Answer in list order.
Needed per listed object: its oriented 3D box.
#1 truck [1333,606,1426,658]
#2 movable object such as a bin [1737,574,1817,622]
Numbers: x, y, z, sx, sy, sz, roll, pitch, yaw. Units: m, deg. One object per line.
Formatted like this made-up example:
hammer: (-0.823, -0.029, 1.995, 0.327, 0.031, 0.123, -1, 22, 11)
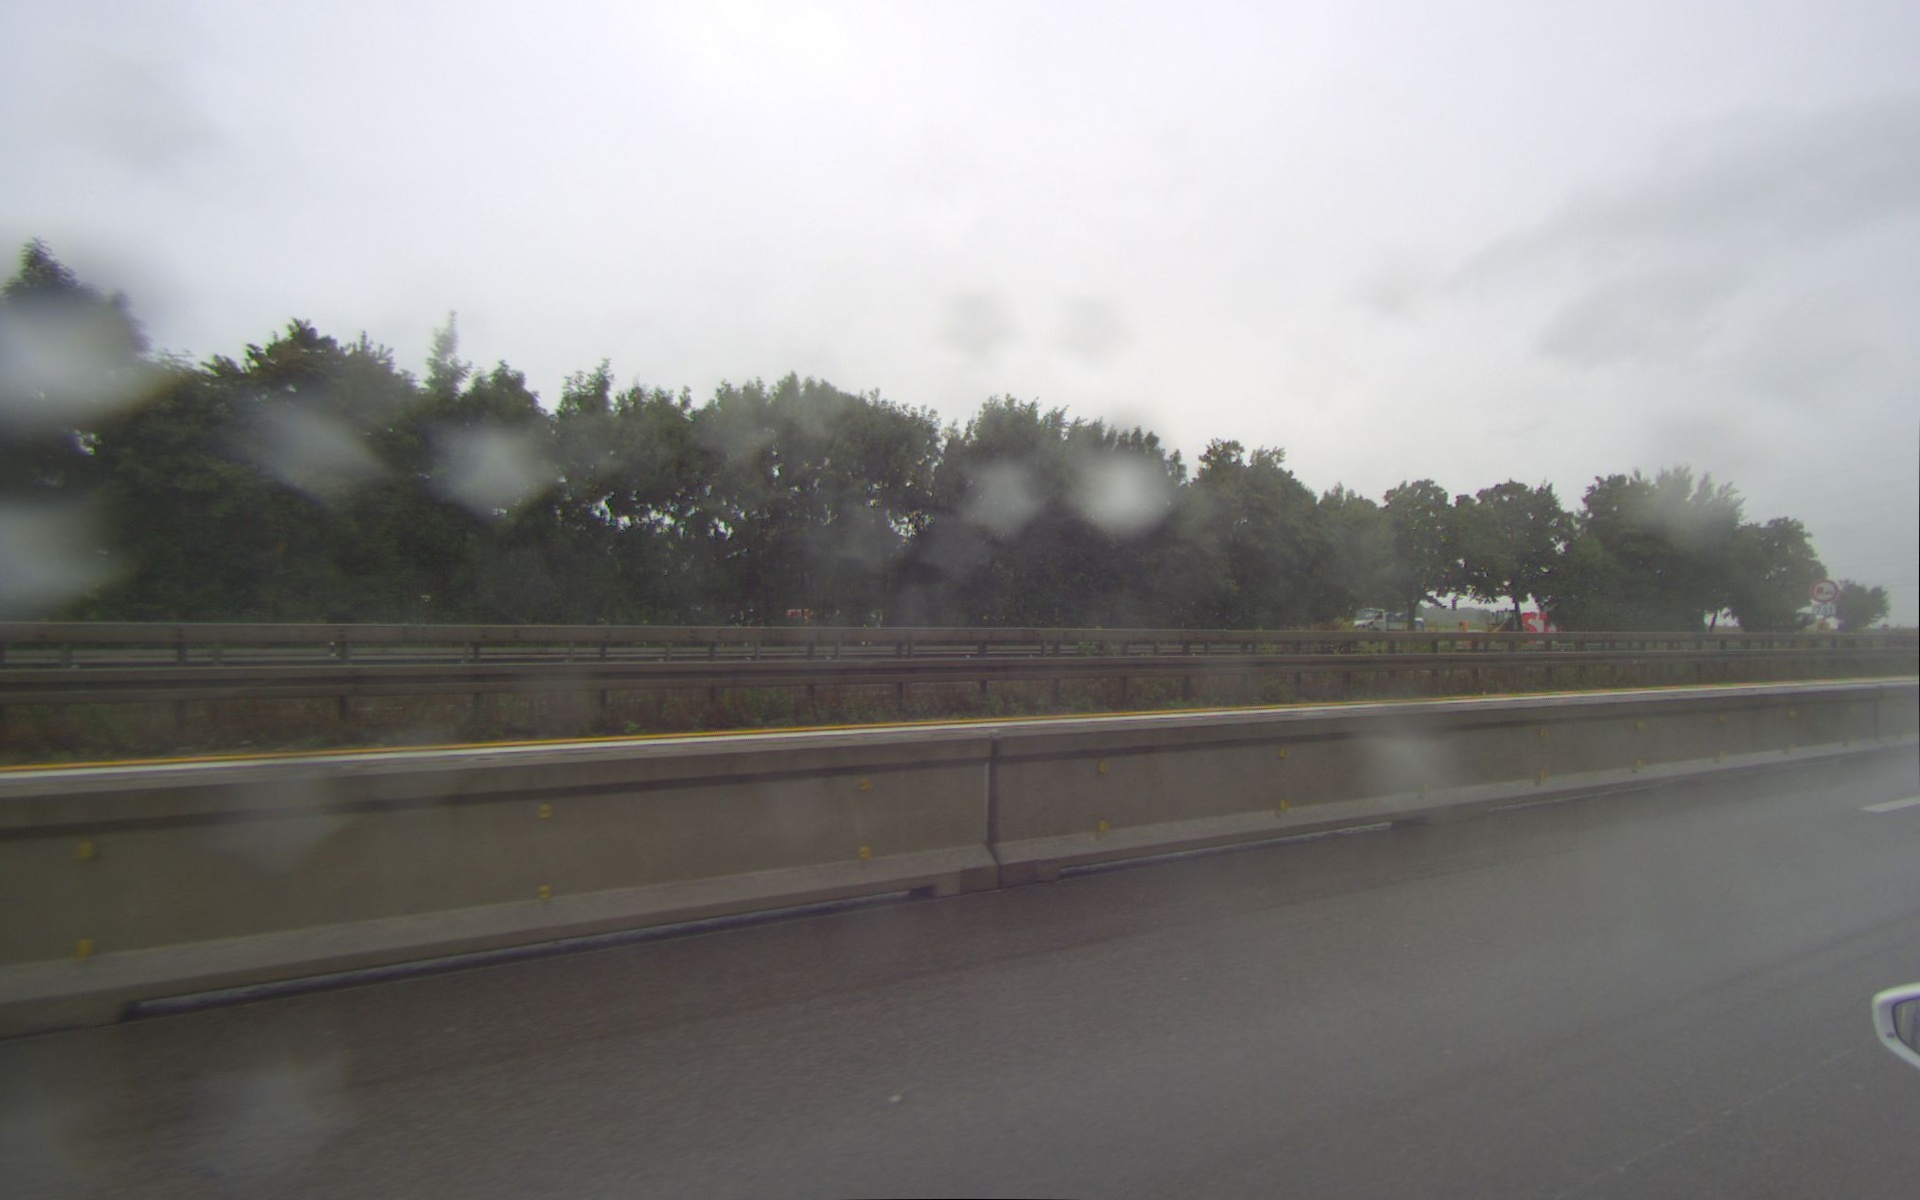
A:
truck: (28.103, 2.175, 67.284, 5.792, 3.255, 2.604, 3, -1, -27)
movable object such as a bin: (73.748, -0.148, 90.650, 8.363, 3.971, 2.717, 3, -1, -30)
